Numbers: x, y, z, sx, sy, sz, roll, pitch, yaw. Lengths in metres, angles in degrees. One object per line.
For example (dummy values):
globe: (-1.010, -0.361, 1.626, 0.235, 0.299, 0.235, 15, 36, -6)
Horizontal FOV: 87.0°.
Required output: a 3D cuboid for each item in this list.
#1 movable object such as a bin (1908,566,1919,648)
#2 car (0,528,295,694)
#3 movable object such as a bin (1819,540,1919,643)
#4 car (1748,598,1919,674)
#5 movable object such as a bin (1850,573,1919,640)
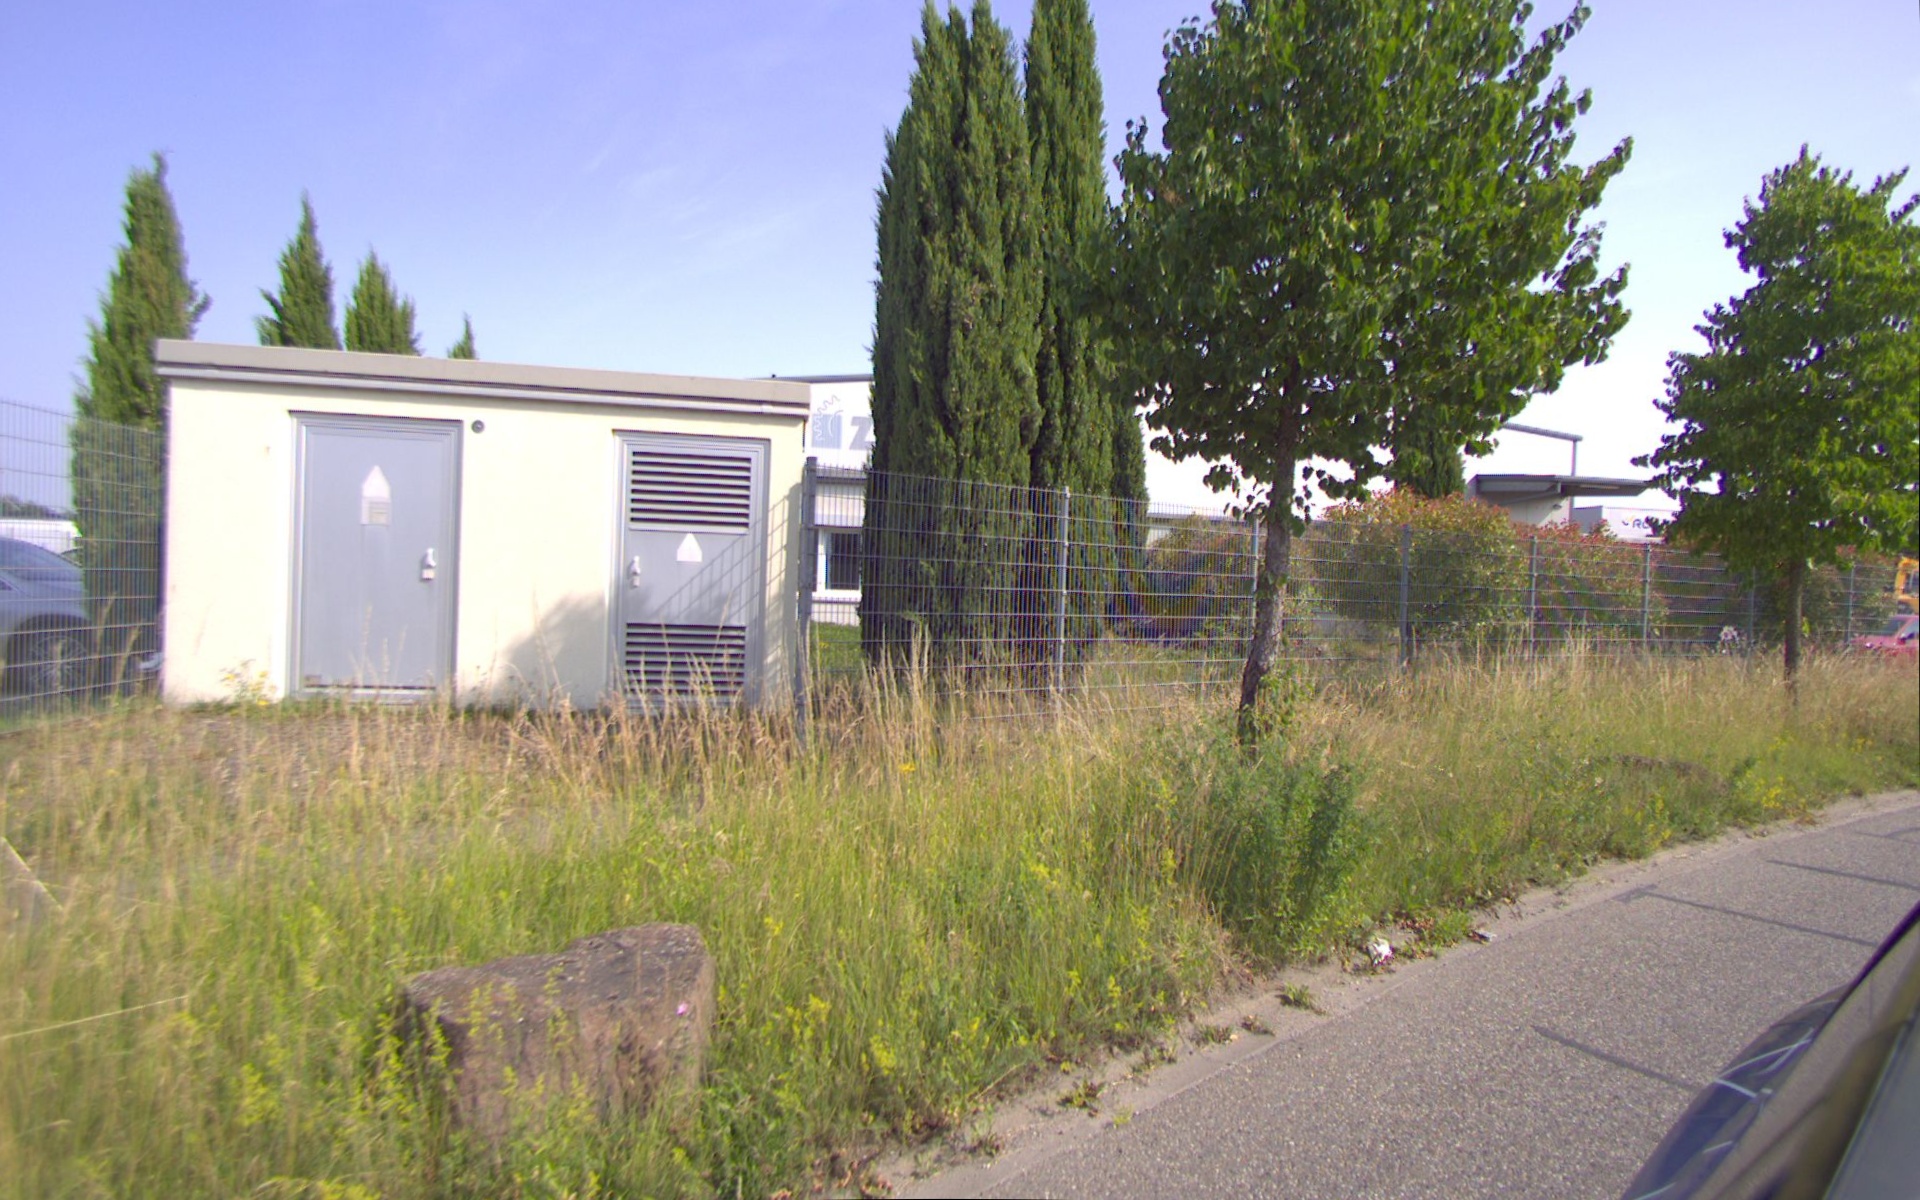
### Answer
movable object such as a bin: (38.303, 0.351, 37.680, 4.284, 3.069, 2.002, 2, 1, -8)
car: (-9.980, 0.095, 11.237, 3.916, 1.664, 1.731, 2, -1, -14)
movable object such as a bin: (38.195, -0.313, 40.445, 5.601, 3.922, 2.697, 2, 1, -8)
car: (18.718, 0.726, 20.372, 4.673, 1.375, 1.890, 2, 1, -12)
movable object such as a bin: (42.564, 0.350, 44.440, 5.572, 2.803, 2.065, 2, 1, -10)
